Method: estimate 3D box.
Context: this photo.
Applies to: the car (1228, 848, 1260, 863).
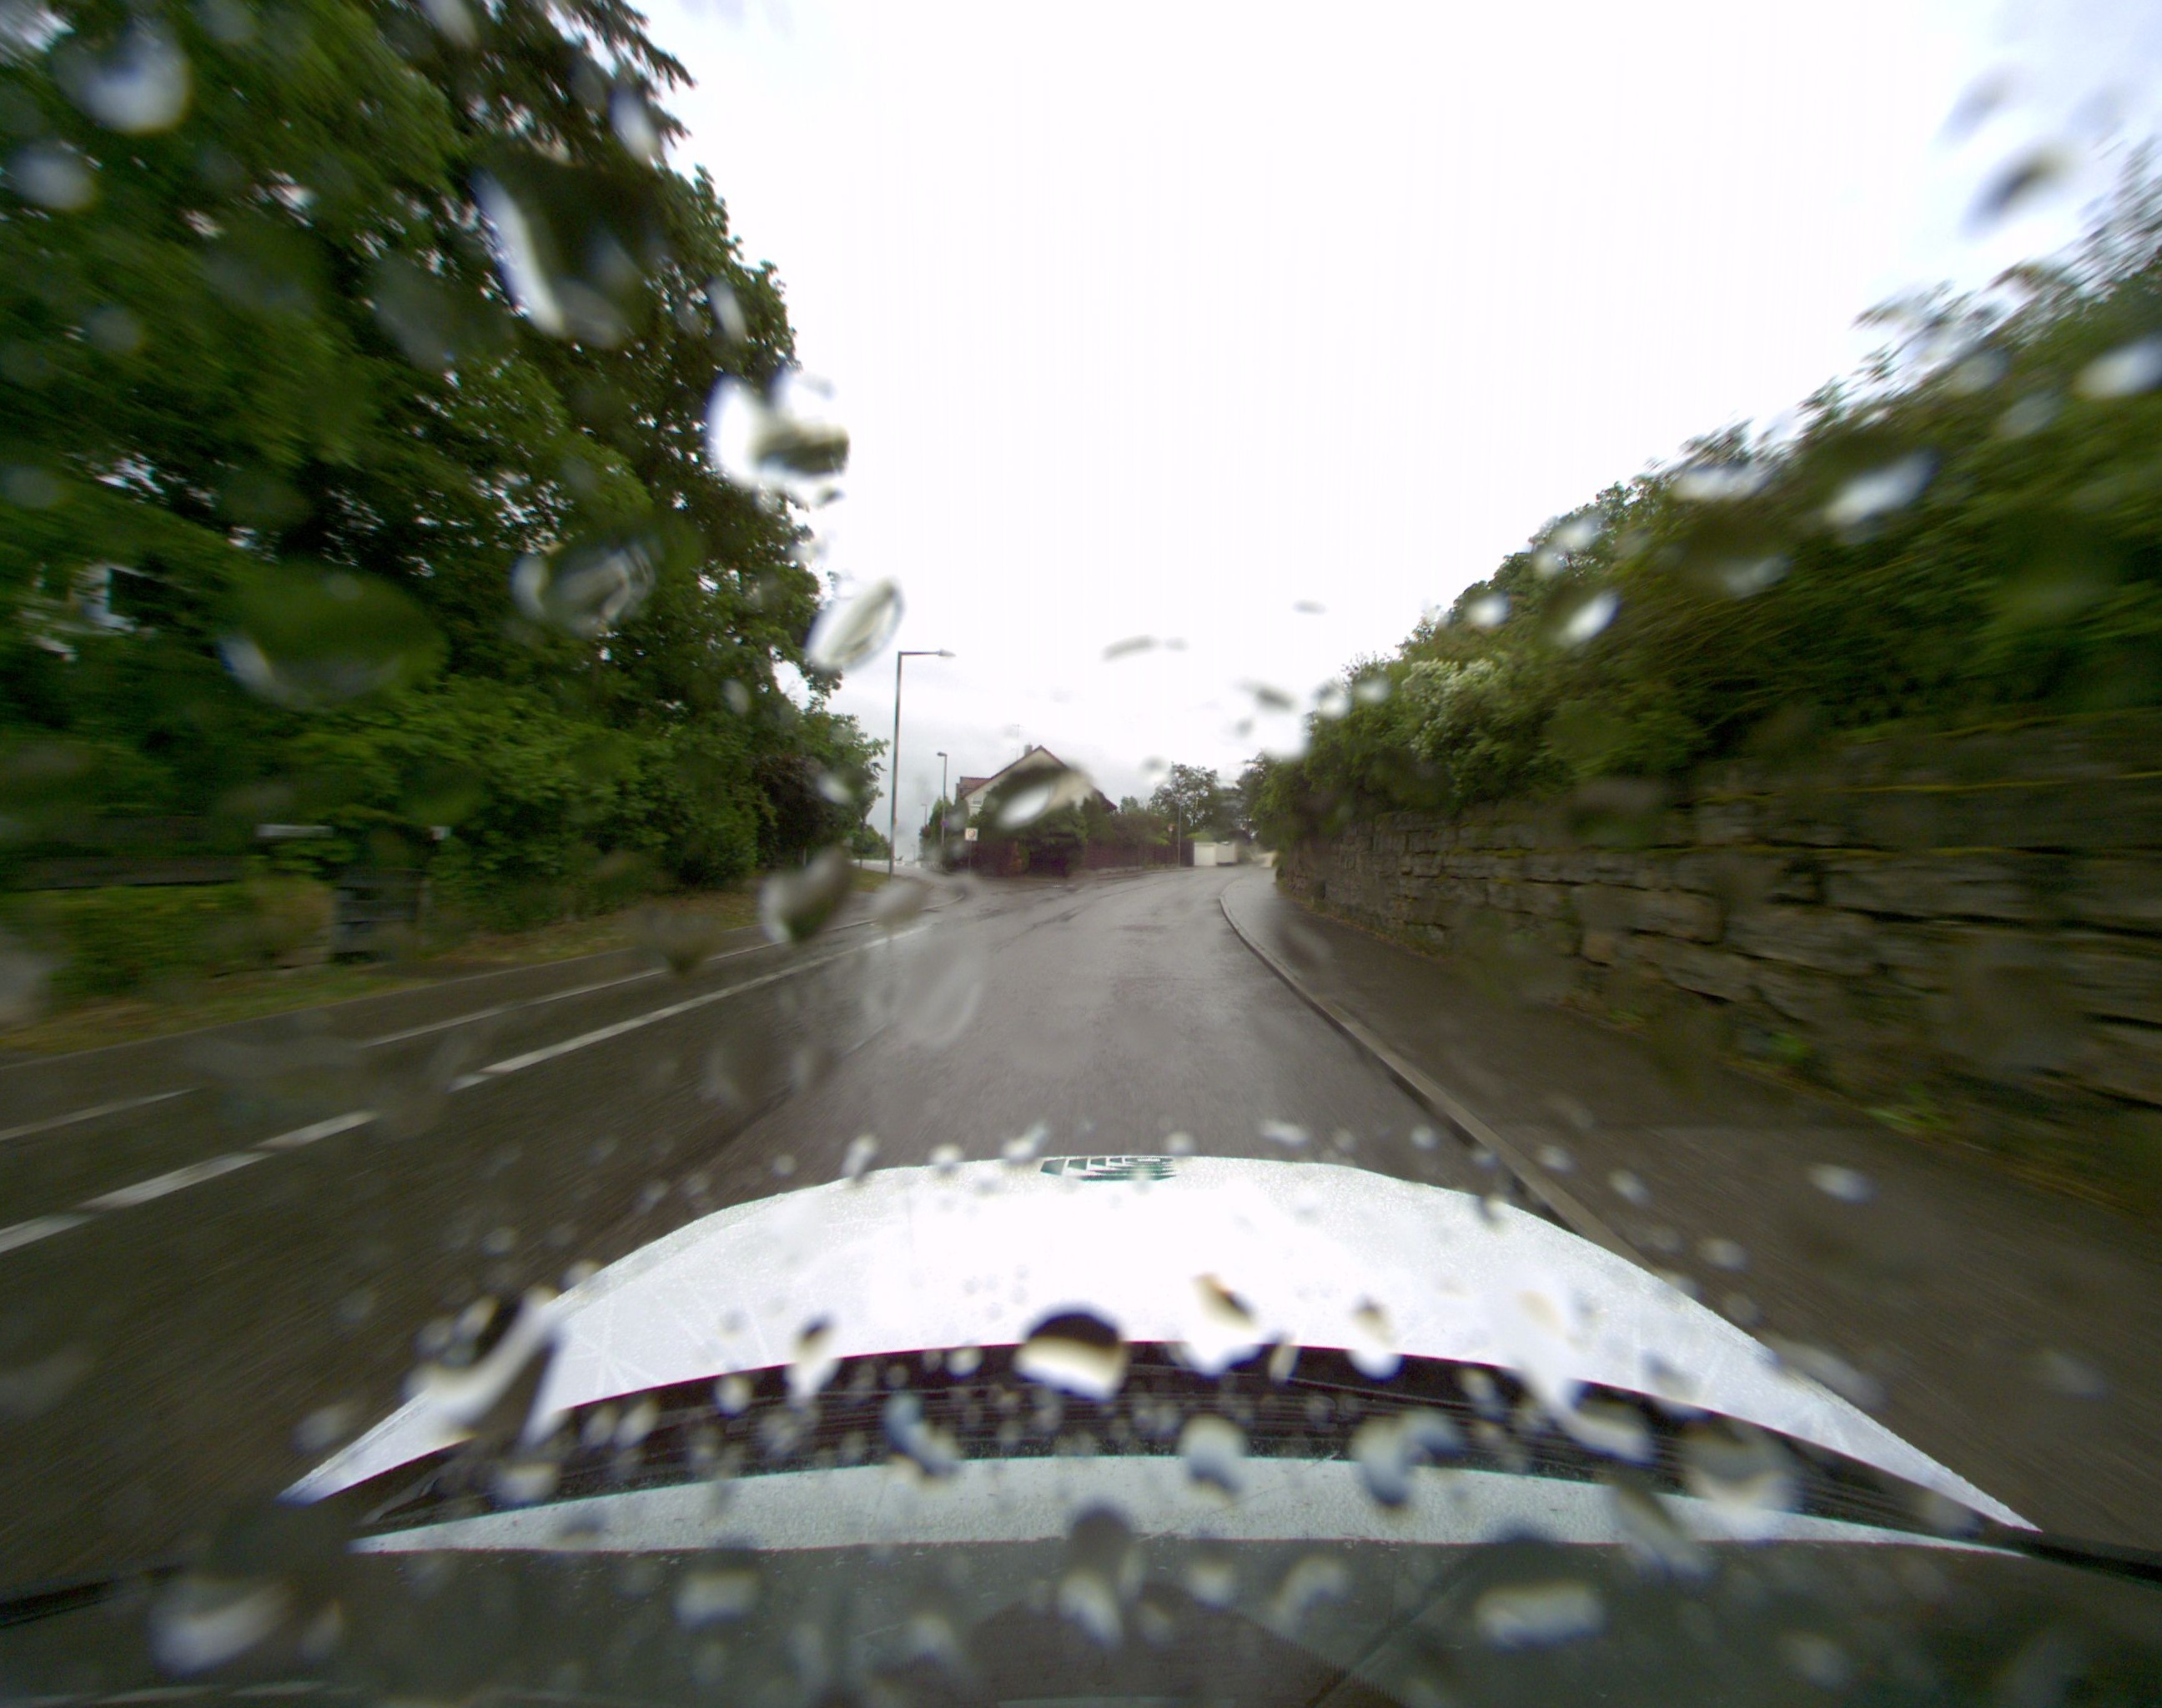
[{"bbox_3d":[21.366,0.190,106.510,3.796,1.907,1.546,1,0,30],"label":"car"}]
